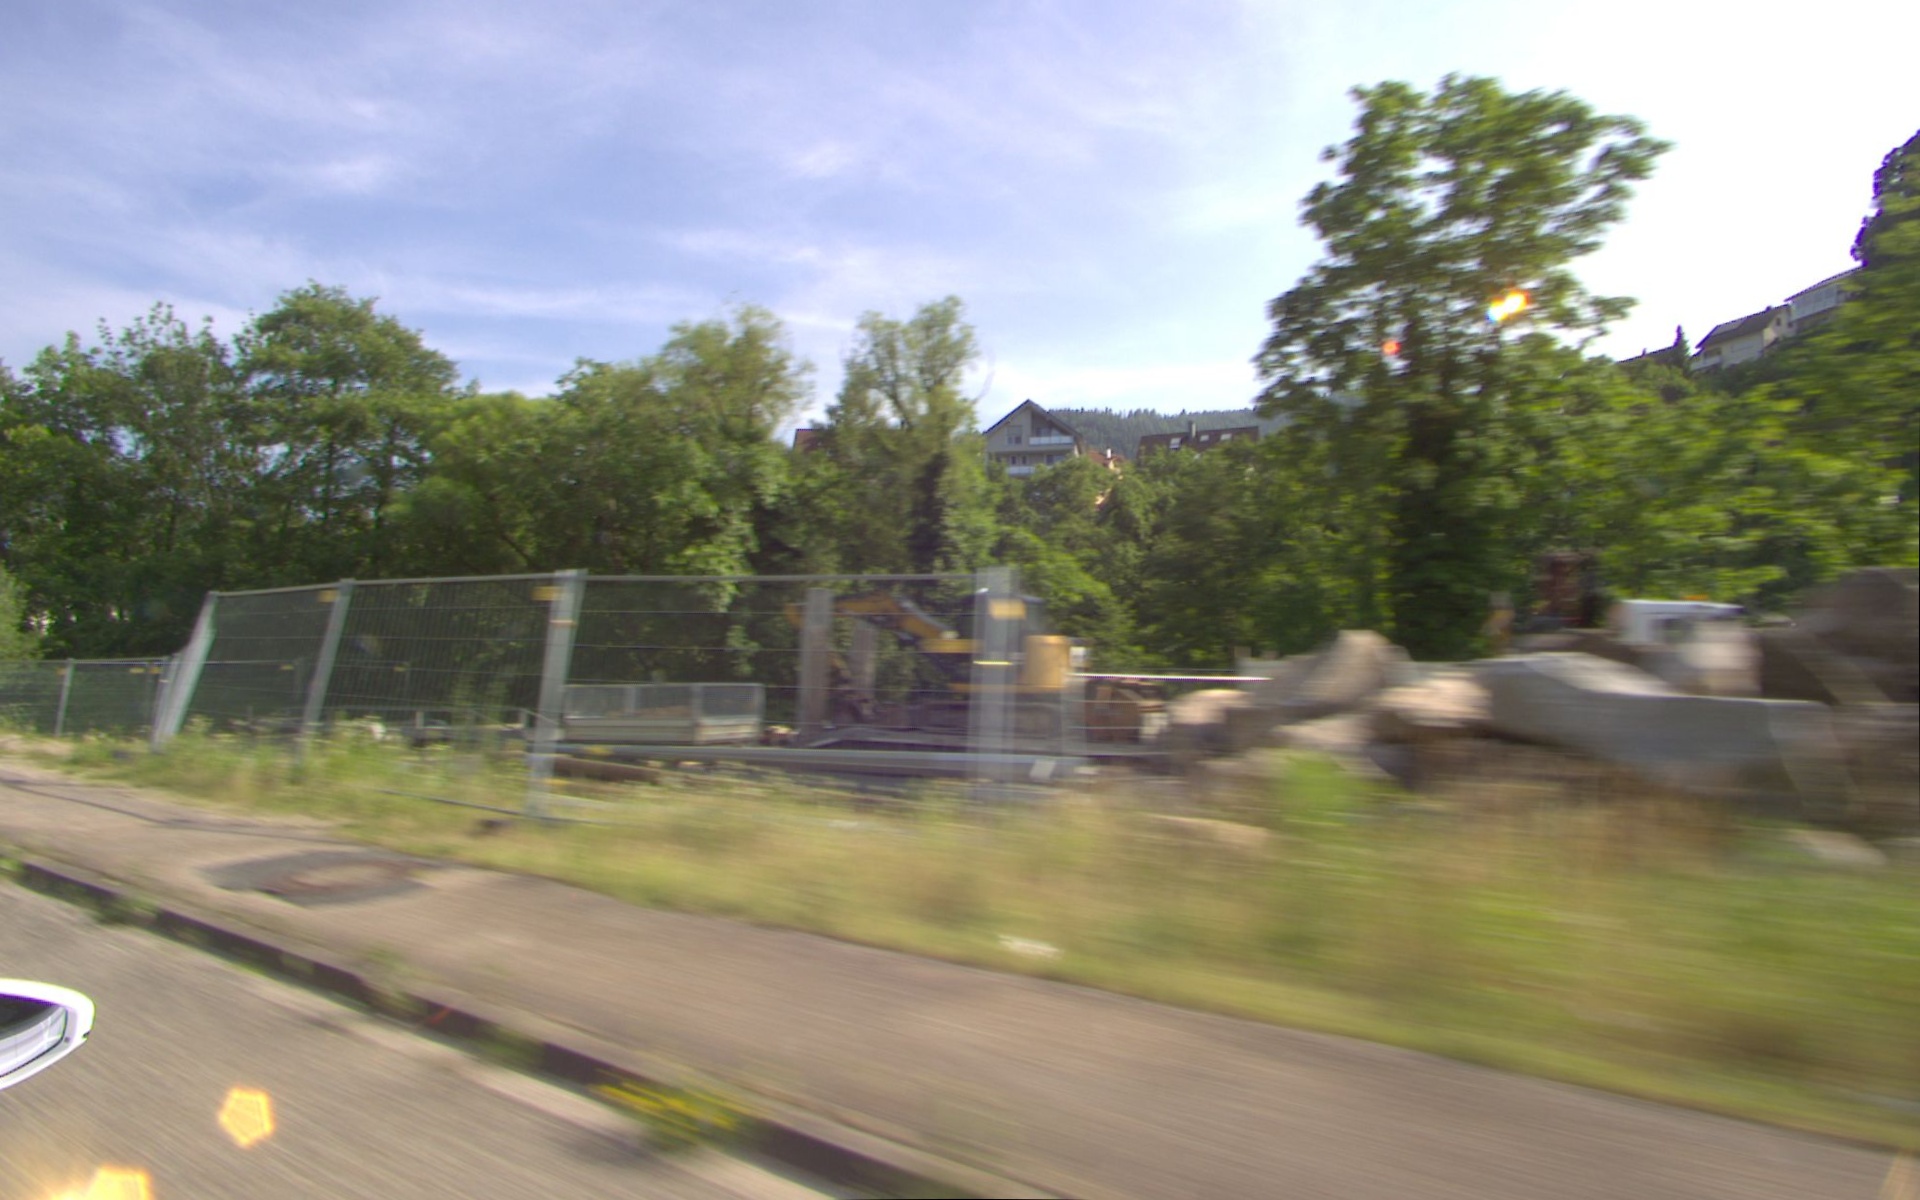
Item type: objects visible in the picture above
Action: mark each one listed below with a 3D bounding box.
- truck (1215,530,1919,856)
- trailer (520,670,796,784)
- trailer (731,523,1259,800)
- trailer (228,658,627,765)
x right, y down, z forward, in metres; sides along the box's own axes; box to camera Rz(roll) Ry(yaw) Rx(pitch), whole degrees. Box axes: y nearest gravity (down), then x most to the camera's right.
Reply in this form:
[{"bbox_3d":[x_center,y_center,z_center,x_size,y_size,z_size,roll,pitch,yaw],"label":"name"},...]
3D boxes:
[{"bbox_3d":[8.474,1.246,15.055,8.510,3.828,3.104,-1,-4,28],"label":"truck"},{"bbox_3d":[-5.604,2.247,18.562,4.715,1.844,2.056,-1,-4,26],"label":"trailer"},{"bbox_3d":[0.492,1.192,19.455,9.756,4.325,3.366,-2,-4,28],"label":"trailer"},{"bbox_3d":[-12.677,2.398,23.223,11.327,2.038,2.389,-2,-4,29],"label":"trailer"}]
